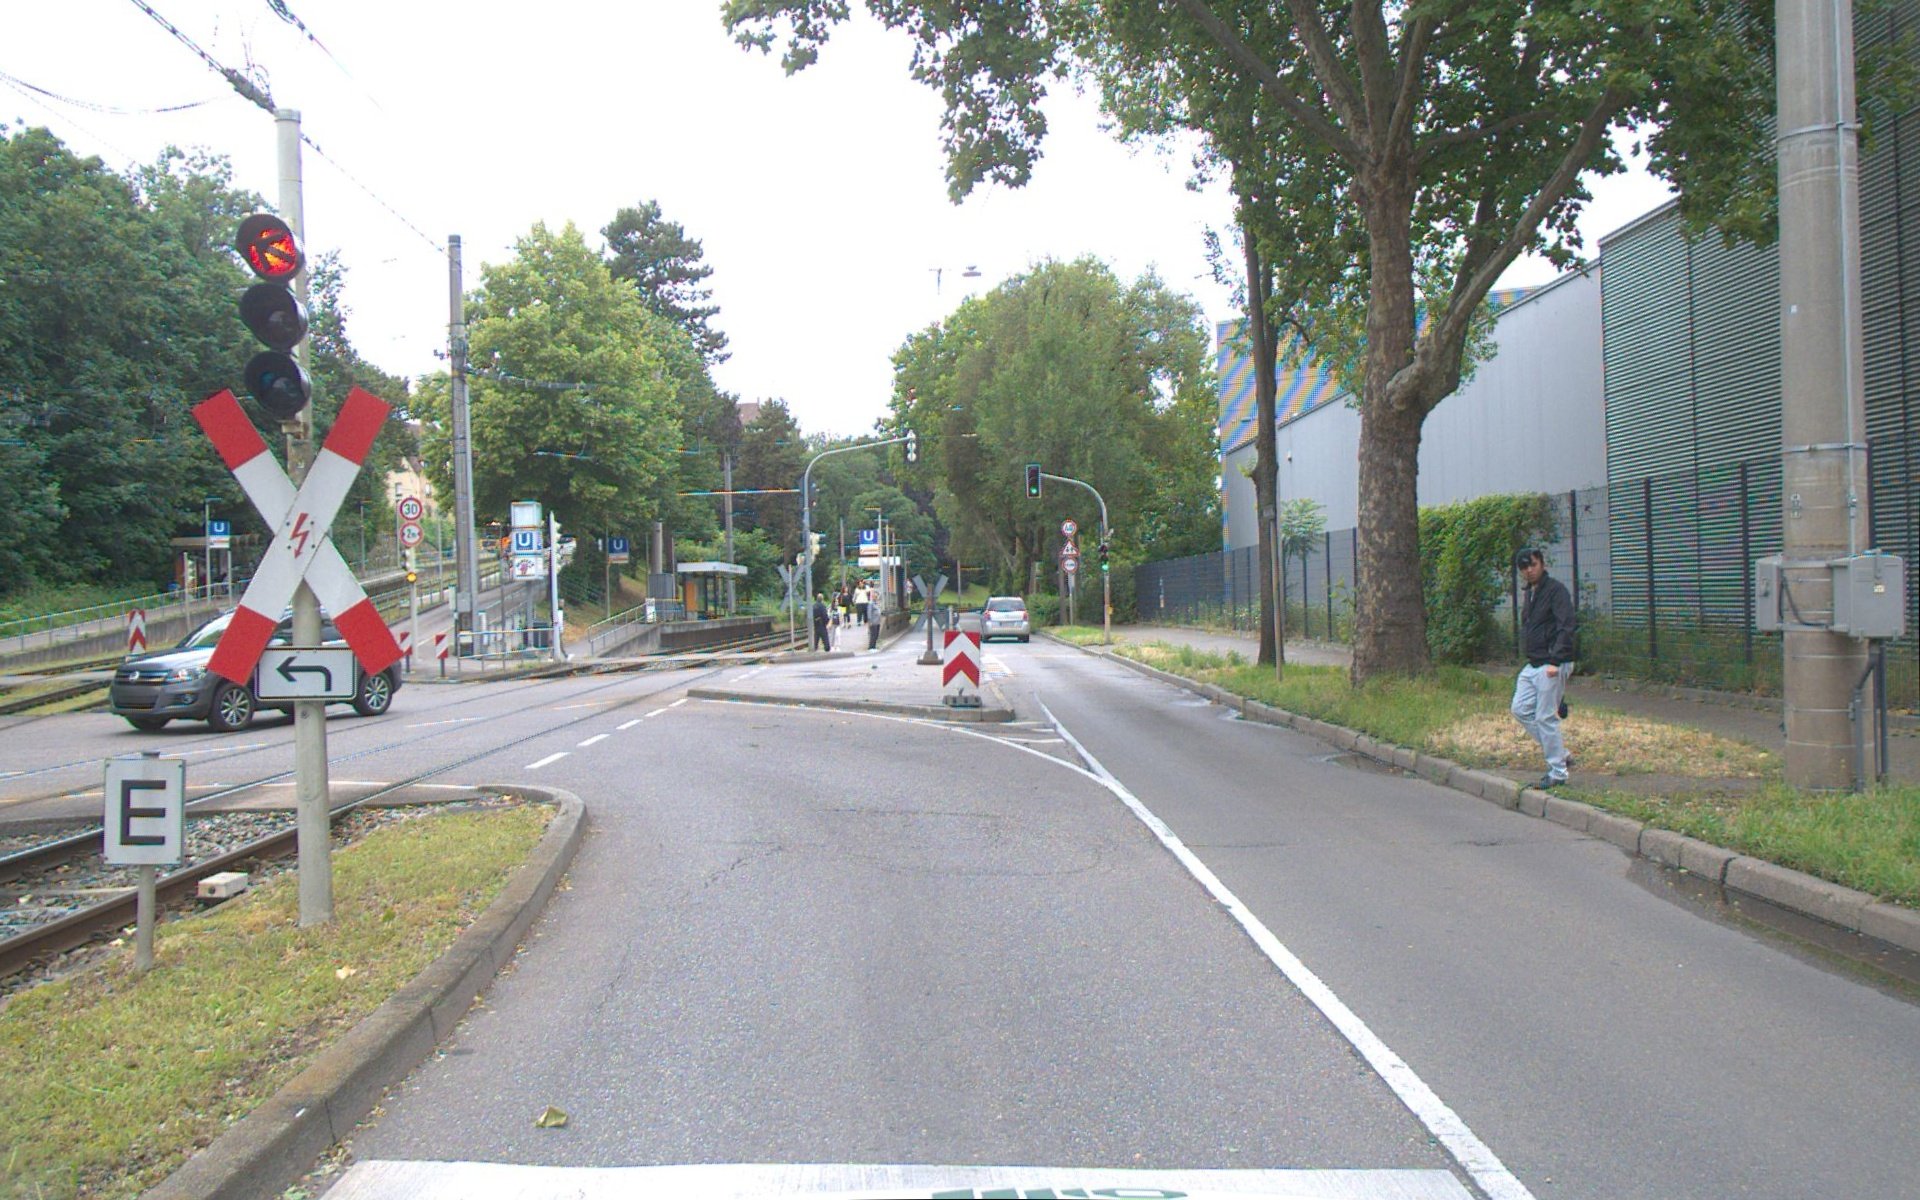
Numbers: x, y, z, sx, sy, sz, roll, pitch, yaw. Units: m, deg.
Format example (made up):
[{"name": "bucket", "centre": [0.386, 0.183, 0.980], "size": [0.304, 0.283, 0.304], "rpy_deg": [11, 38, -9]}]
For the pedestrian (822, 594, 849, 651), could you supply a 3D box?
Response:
[{"name": "pedestrian", "centre": [-3.756, 0.685, 50.037], "size": [0.720, 1.694, 0.682], "rpy_deg": [1, -1, 3]}]

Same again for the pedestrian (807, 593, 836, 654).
[{"name": "pedestrian", "centre": [-3.902, 0.668, 46.604], "size": [0.720, 1.694, 0.682], "rpy_deg": [1, -1, 1]}]

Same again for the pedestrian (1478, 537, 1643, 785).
[{"name": "pedestrian", "centre": [4.559, 0.455, 12.541], "size": [1.094, 1.791, 0.813], "rpy_deg": [-1, -1, 23]}]

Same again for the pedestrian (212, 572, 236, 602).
[{"name": "pedestrian", "centre": [-33.461, -0.599, 75.183], "size": [0.757, 1.349, 0.785], "rpy_deg": [1, 0, -9]}]

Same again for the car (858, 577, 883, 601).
[{"name": "car", "centre": [-7.853, -0.927, 145.551], "size": [1.953, 2.049, 3.999], "rpy_deg": [1, 0, -1]}]

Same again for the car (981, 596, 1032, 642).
[{"name": "car", "centre": [1.675, 0.687, 60.874], "size": [1.708, 1.627, 3.999], "rpy_deg": [1, 0, -1]}]

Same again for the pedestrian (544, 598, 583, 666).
[{"name": "pedestrian", "centre": [-11.055, 0.883, 46.111], "size": [0.798, 1.853, 0.660], "rpy_deg": [1, -1, -41]}]

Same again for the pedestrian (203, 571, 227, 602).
[{"name": "pedestrian", "centre": [-33.360, -0.602, 74.052], "size": [0.757, 1.349, 0.786], "rpy_deg": [1, 2, -9]}]

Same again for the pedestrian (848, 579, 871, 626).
[{"name": "pedestrian", "centre": [-3.662, 0.090, 60.061], "size": [0.722, 1.694, 0.680], "rpy_deg": [1, -1, -11]}]

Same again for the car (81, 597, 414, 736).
[{"name": "car", "centre": [-9.968, 0.879, 23.486], "size": [1.862, 1.748, 4.134], "rpy_deg": [-3, -1, 24]}]

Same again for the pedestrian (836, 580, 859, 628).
[{"name": "pedestrian", "centre": [-4.008, 0.134, 59.021], "size": [0.722, 1.694, 0.680], "rpy_deg": [1, -1, -11]}]

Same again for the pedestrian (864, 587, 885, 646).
[{"name": "pedestrian", "centre": [-2.629, 0.506, 50.741], "size": [0.538, 1.789, 0.738], "rpy_deg": [1, -1, 4]}]
